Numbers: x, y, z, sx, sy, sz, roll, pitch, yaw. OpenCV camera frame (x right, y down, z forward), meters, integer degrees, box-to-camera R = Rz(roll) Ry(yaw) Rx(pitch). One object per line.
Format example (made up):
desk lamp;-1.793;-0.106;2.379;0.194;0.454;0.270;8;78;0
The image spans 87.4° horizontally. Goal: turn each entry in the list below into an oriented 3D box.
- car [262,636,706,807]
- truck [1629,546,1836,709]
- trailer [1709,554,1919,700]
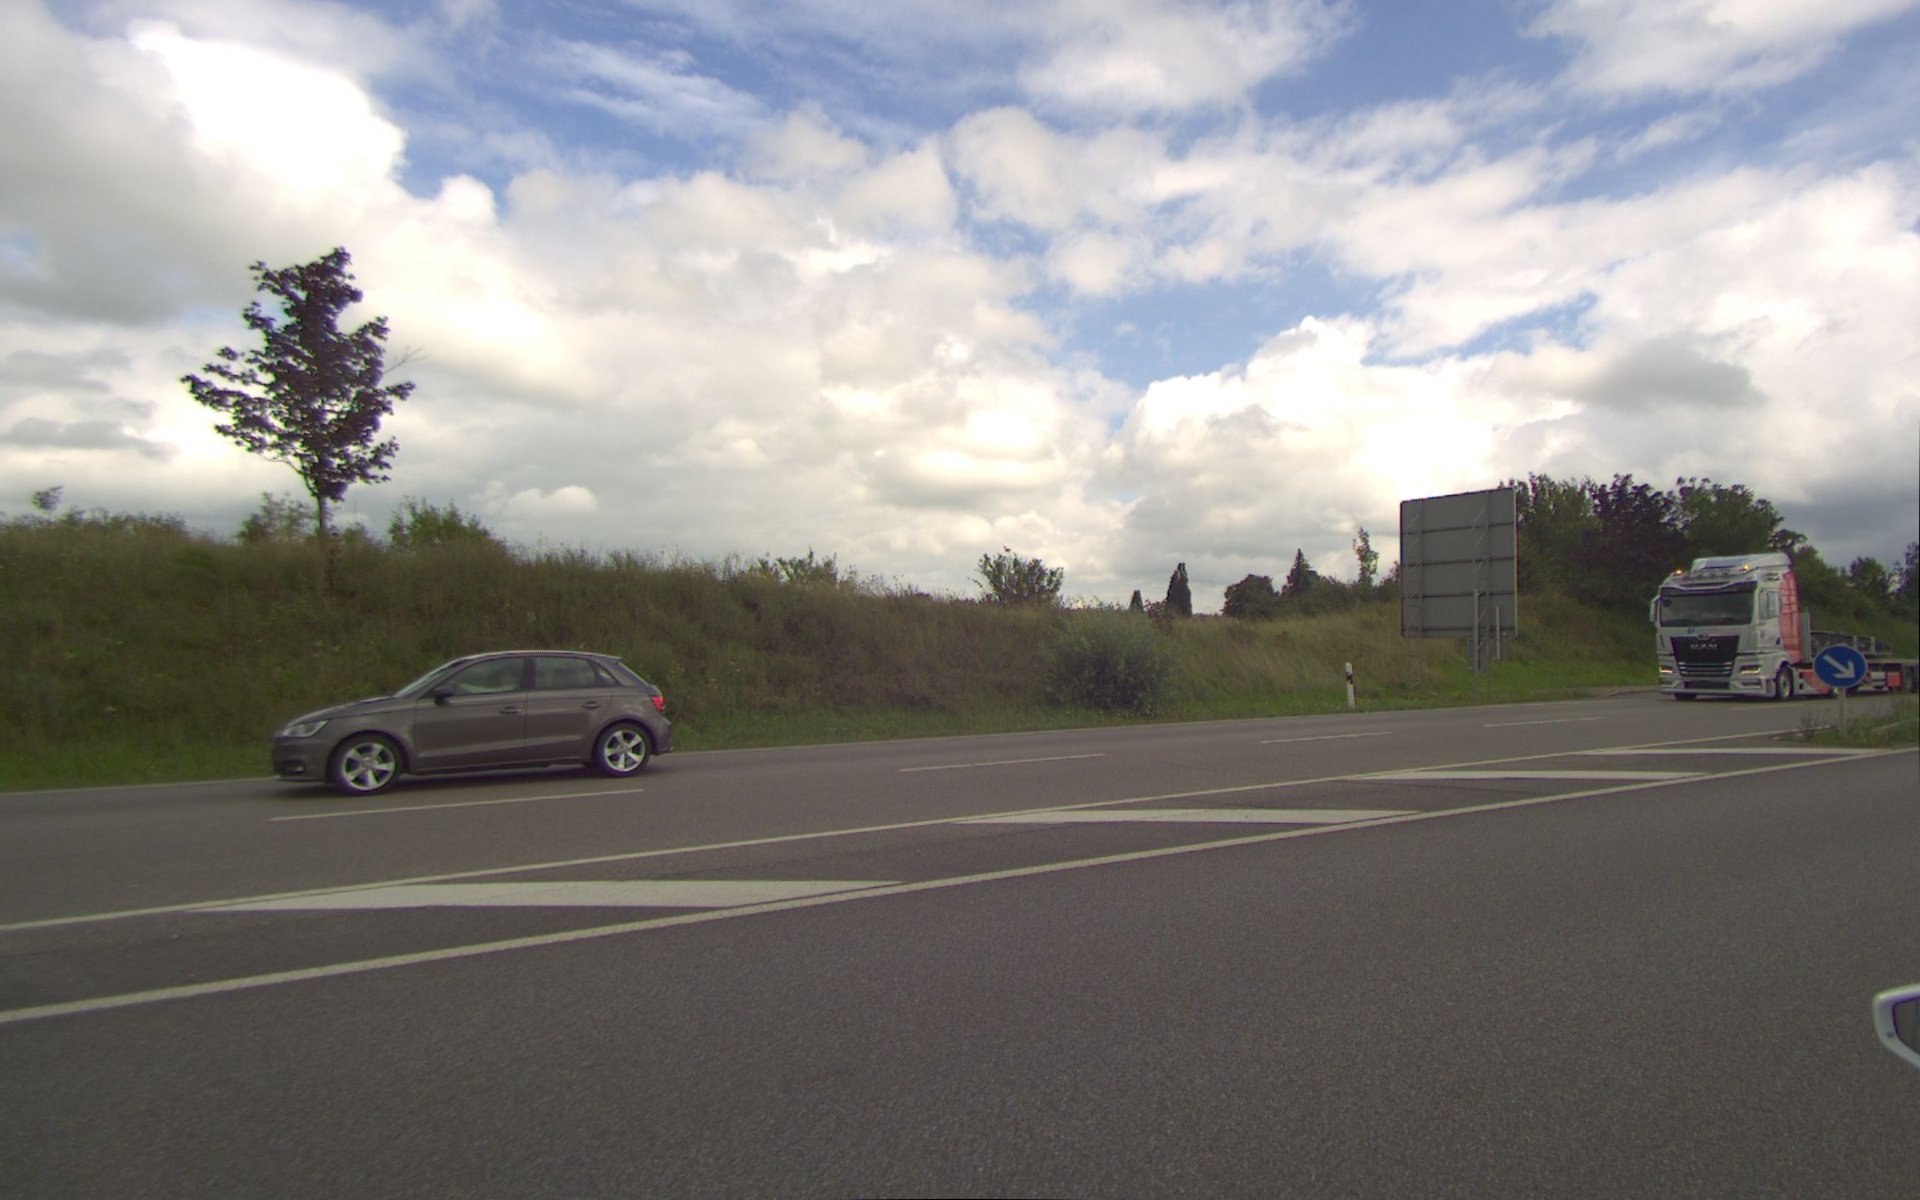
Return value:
car;-5.083;1.197;11.060;4.147;1.550;1.724;1;-3;-32
truck;21.148;0.752;27.483;5.227;4.050;2.788;1;-2;-32
trailer;28.394;0.866;32.077;12.841;3.999;2.760;1;-2;-32
